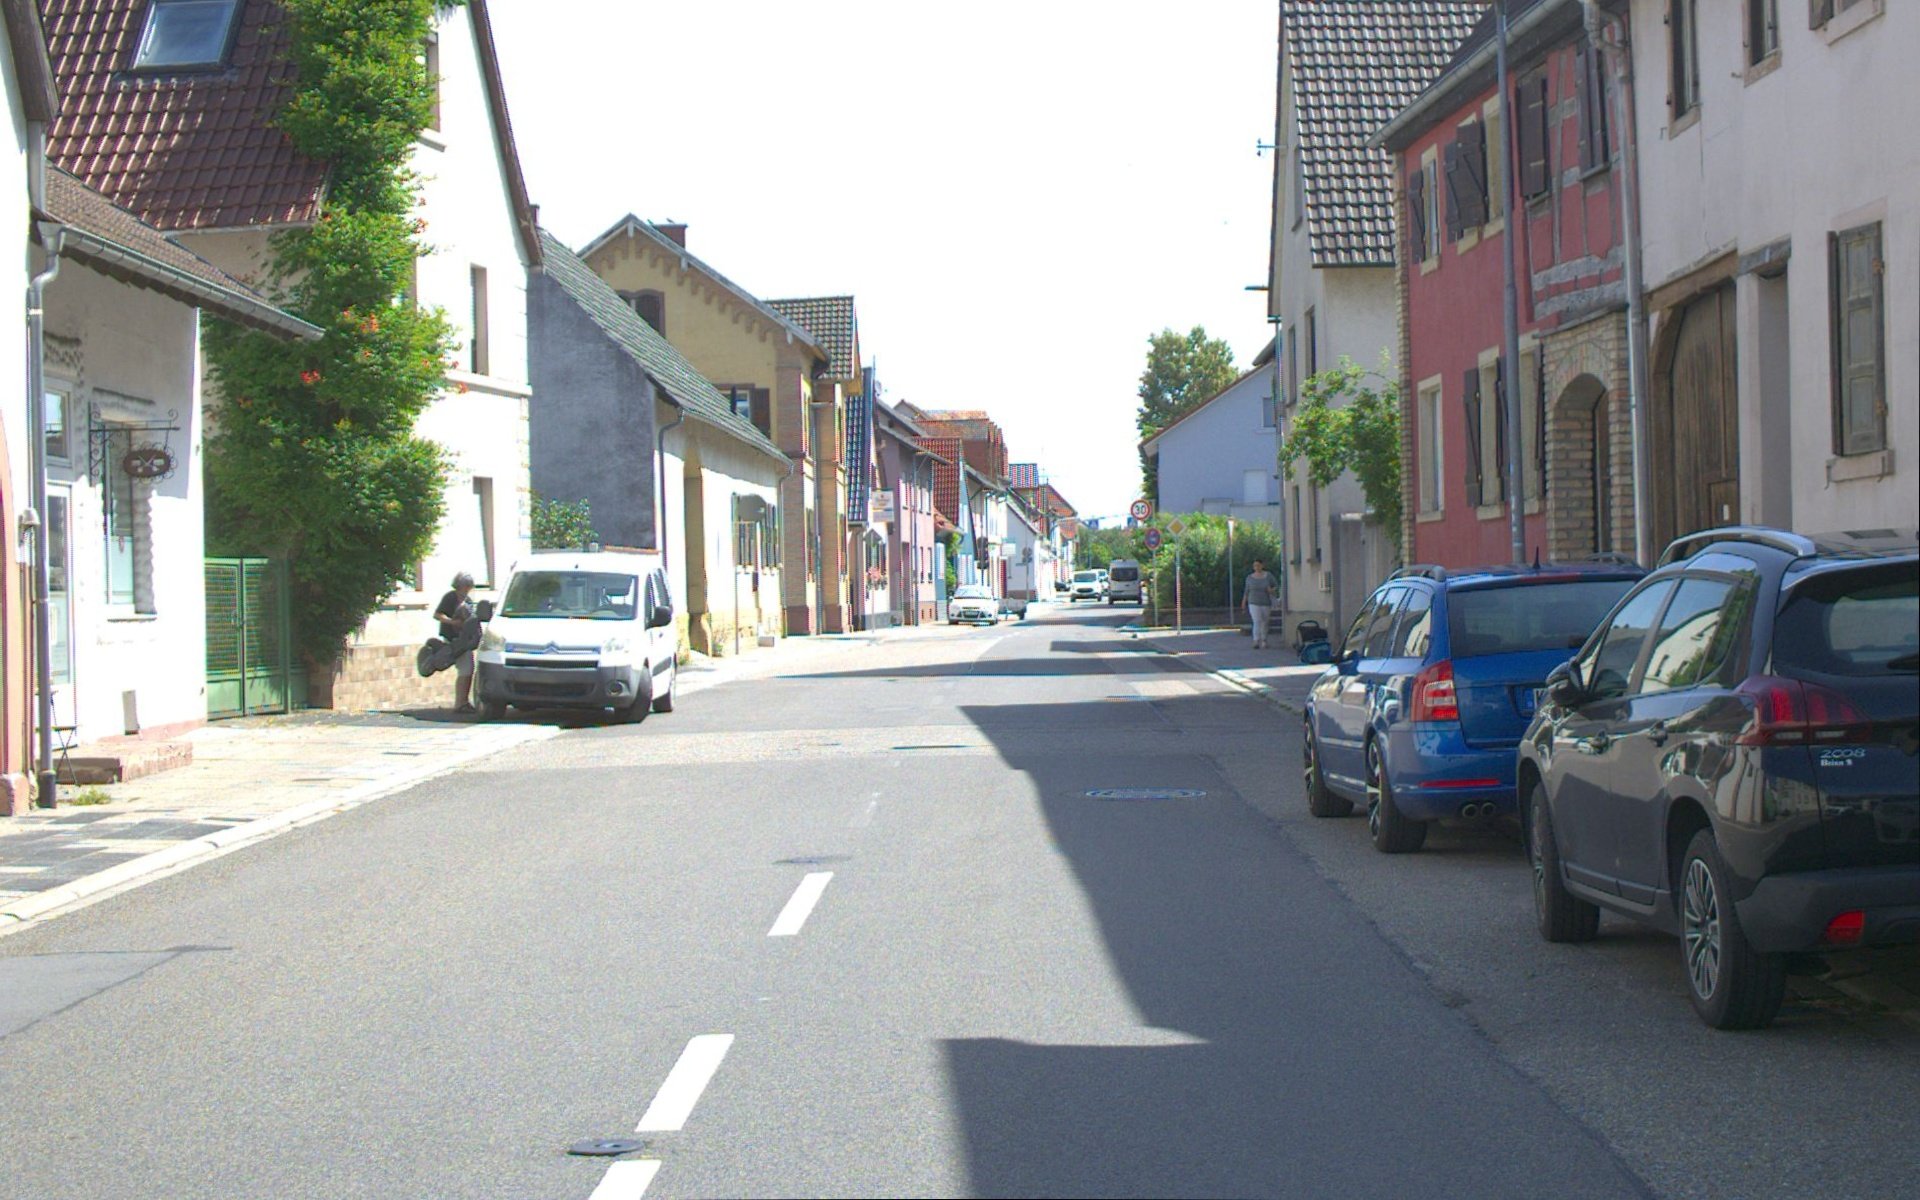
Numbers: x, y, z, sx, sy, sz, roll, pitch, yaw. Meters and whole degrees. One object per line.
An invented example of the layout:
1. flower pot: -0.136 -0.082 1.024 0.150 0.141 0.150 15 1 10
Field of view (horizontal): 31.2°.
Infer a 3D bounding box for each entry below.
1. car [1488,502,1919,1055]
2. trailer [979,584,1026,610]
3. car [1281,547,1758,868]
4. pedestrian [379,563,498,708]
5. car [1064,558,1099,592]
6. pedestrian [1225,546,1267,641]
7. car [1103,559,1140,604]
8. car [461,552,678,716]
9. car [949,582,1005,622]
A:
1. car: 3.059 0.474 11.969 1.699 1.578 4.027 -2 1 -1
2. trailer: 1.828 -0.122 148.597 1.993 1.086 4.000 -1 0 1
3. car: 2.884 0.494 18.638 1.698 1.464 4.410 -2 1 -1
4. pedestrian: -5.683 0.381 37.534 1.136 1.546 1.017 -1 0 -1
5. car: 7.961 -1.613 225.142 2.158 2.073 4.000 -2 -1 1
6. pedestrian: 5.055 -0.117 60.736 0.719 1.658 0.892 -1 0 5
7. car: 9.544 -1.112 203.269 2.017 2.559 4.000 -2 0 1
8. car: -4.159 0.326 37.220 1.855 1.641 4.430 -1 1 0
9. car: 0.673 0.061 131.744 1.993 1.437 4.000 -2 0 2
